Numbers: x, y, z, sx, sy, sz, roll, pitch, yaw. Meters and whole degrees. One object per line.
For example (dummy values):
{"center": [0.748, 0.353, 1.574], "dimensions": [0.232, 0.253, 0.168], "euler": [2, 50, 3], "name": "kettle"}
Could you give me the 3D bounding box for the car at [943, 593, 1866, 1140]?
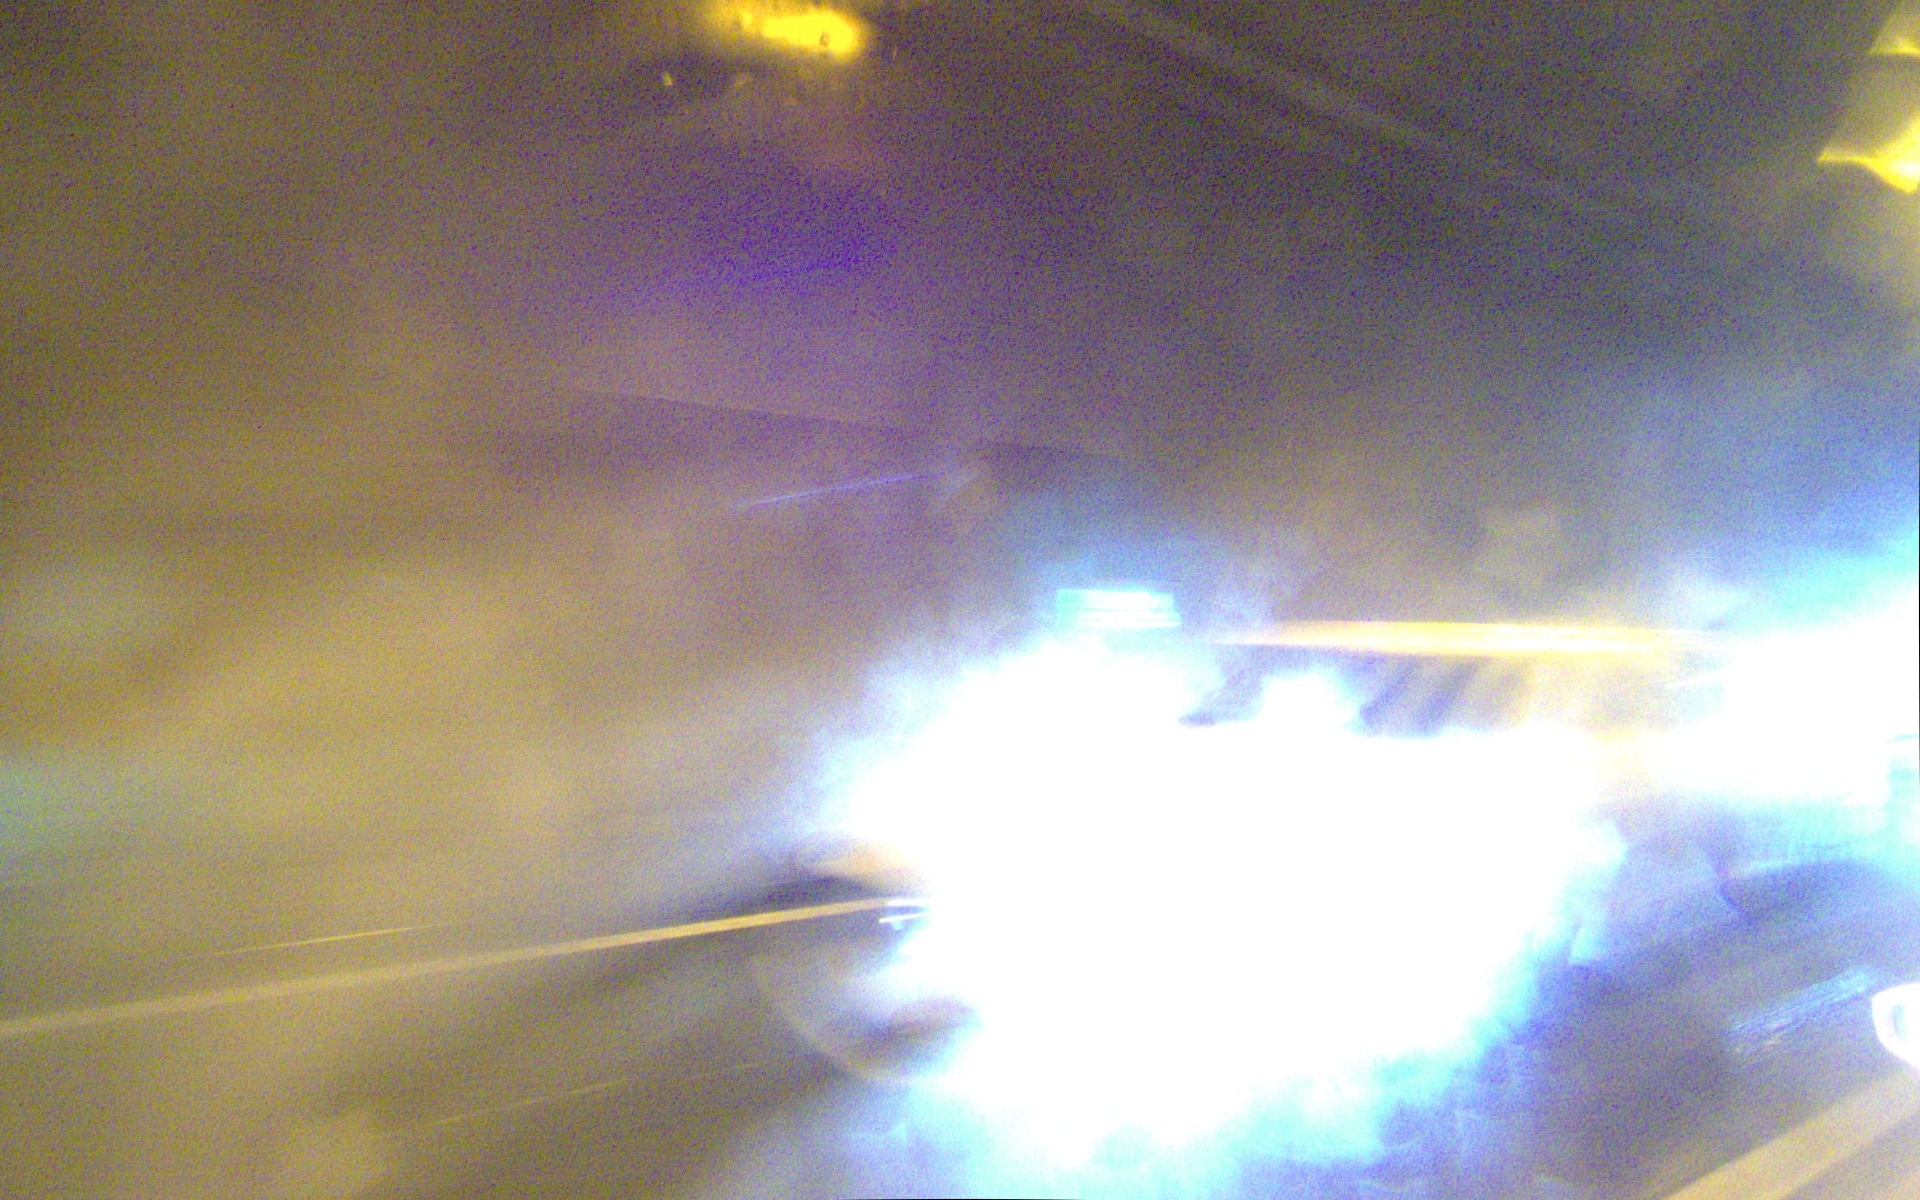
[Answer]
{"center": [2.173, 0.773, 4.621], "dimensions": [4.152, 1.502, 1.804], "euler": [1, 0, -31], "name": "car"}
